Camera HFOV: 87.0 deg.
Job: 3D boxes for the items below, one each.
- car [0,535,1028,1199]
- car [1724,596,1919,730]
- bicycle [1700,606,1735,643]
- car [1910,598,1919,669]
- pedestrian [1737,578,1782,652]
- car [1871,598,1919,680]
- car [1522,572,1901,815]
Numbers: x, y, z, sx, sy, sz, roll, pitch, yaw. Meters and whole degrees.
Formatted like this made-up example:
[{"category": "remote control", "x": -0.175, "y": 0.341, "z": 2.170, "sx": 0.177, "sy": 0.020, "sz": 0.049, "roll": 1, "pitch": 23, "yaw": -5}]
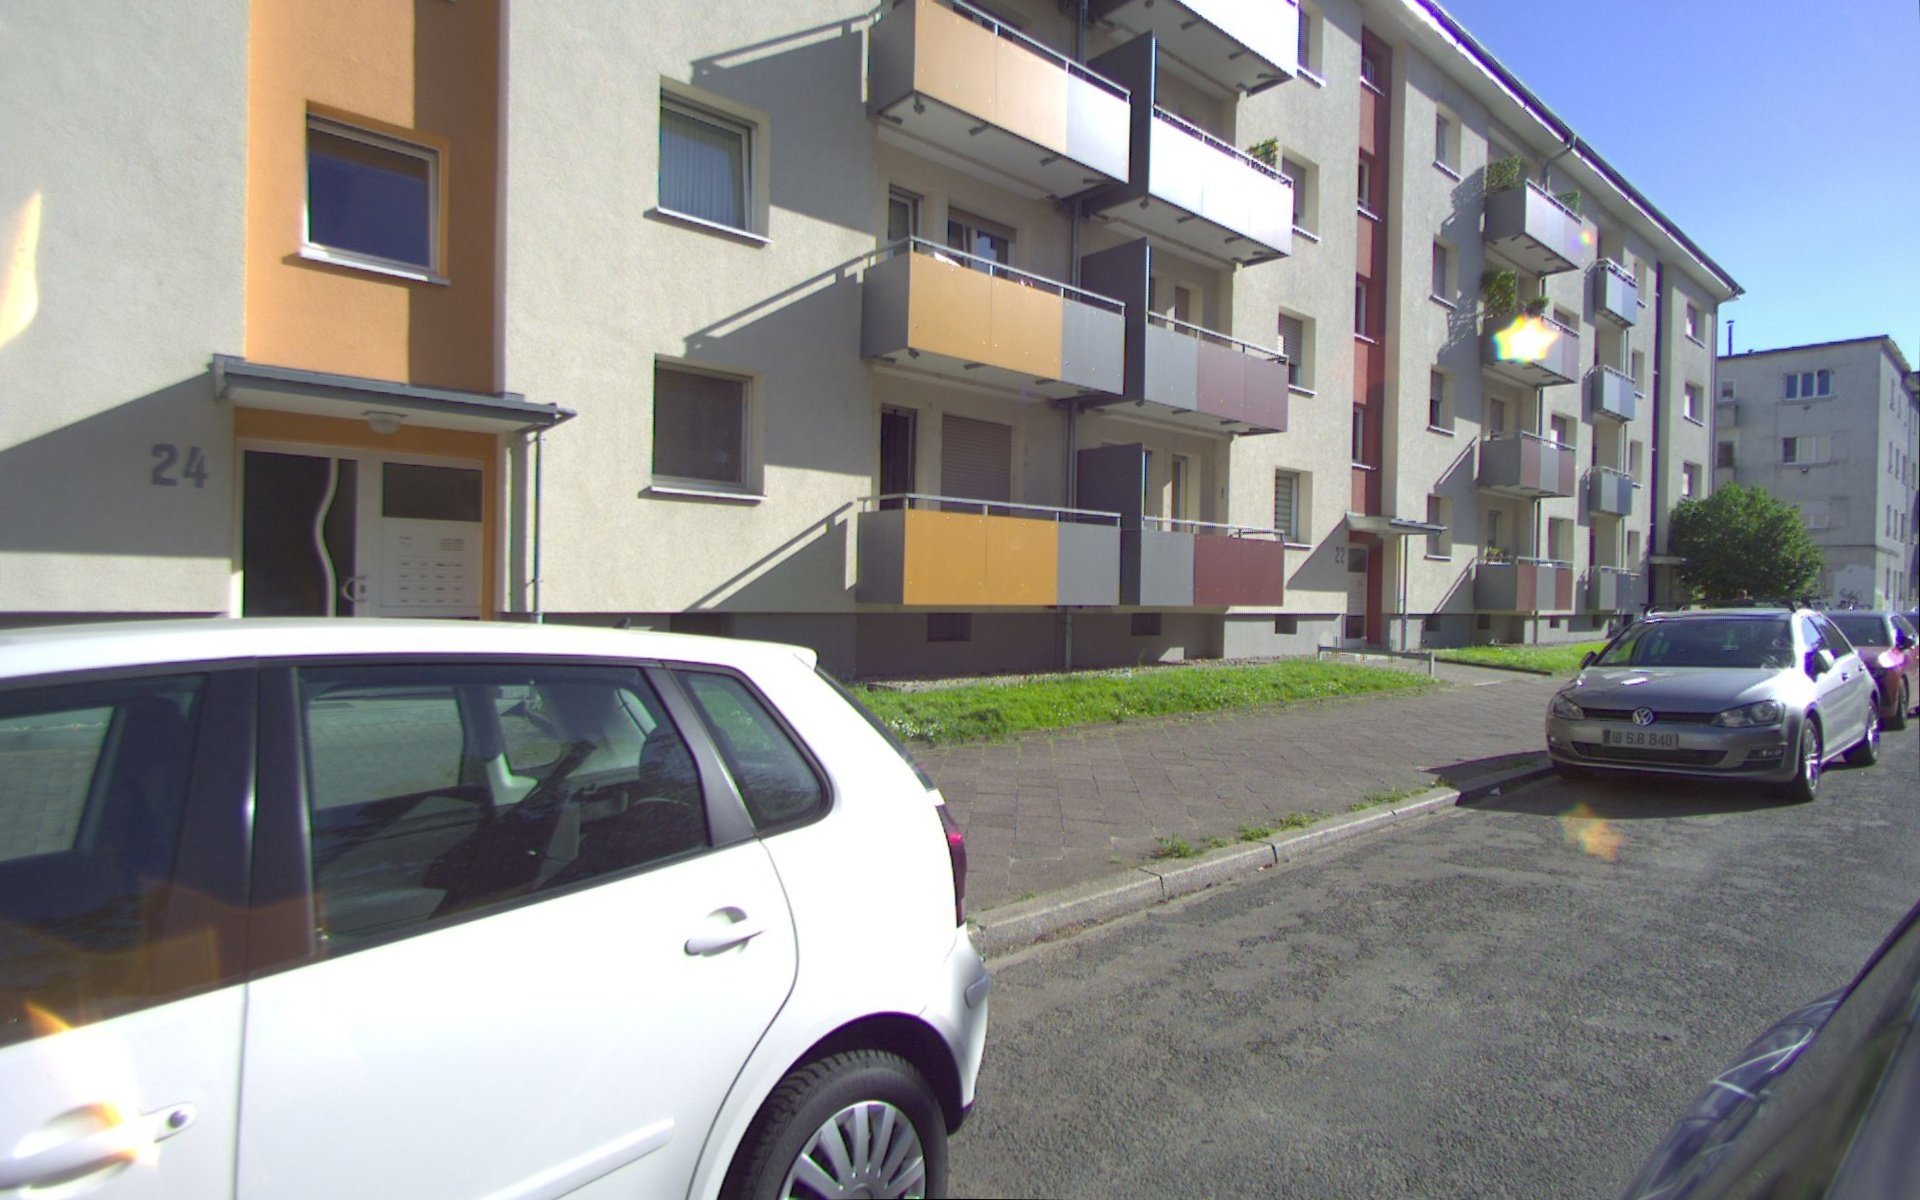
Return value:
[{"category": "car", "x": -1.782, "y": 0.690, "z": 1.581, "sx": 3.756, "sy": 1.482, "sz": 1.686, "roll": 0, "pitch": -2, "yaw": -44}, {"category": "car", "x": 11.858, "y": 0.715, "z": 13.432, "sx": 4.442, "sy": 1.462, "sz": 1.756, "roll": 0, "pitch": 1, "yaw": -39}, {"category": "bicycle", "x": 22.426, "y": 0.708, "z": 29.952, "sx": 2.246, "sy": 1.024, "sz": 0.485, "roll": 1, "pitch": 1, "yaw": -45}, {"category": "car", "x": 23.354, "y": 0.756, "z": 23.436, "sx": 4.184, "sy": 1.578, "sz": 1.754, "roll": 0, "pitch": 0, "yaw": -44}, {"category": "pedestrian", "x": 19.760, "y": 0.353, "z": 25.014, "sx": 0.825, "sy": 1.794, "sz": 0.647, "roll": 1, "pitch": 0, "yaw": -36}, {"category": "car", "x": 19.131, "y": 0.723, "z": 19.718, "sx": 4.012, "sy": 1.499, "sz": 1.754, "roll": 0, "pitch": 0, "yaw": -44}, {"category": "car", "x": 6.912, "y": 0.658, "z": 9.105, "sx": 4.524, "sy": 1.643, "sz": 1.900, "roll": 0, "pitch": -1, "yaw": -43}]
